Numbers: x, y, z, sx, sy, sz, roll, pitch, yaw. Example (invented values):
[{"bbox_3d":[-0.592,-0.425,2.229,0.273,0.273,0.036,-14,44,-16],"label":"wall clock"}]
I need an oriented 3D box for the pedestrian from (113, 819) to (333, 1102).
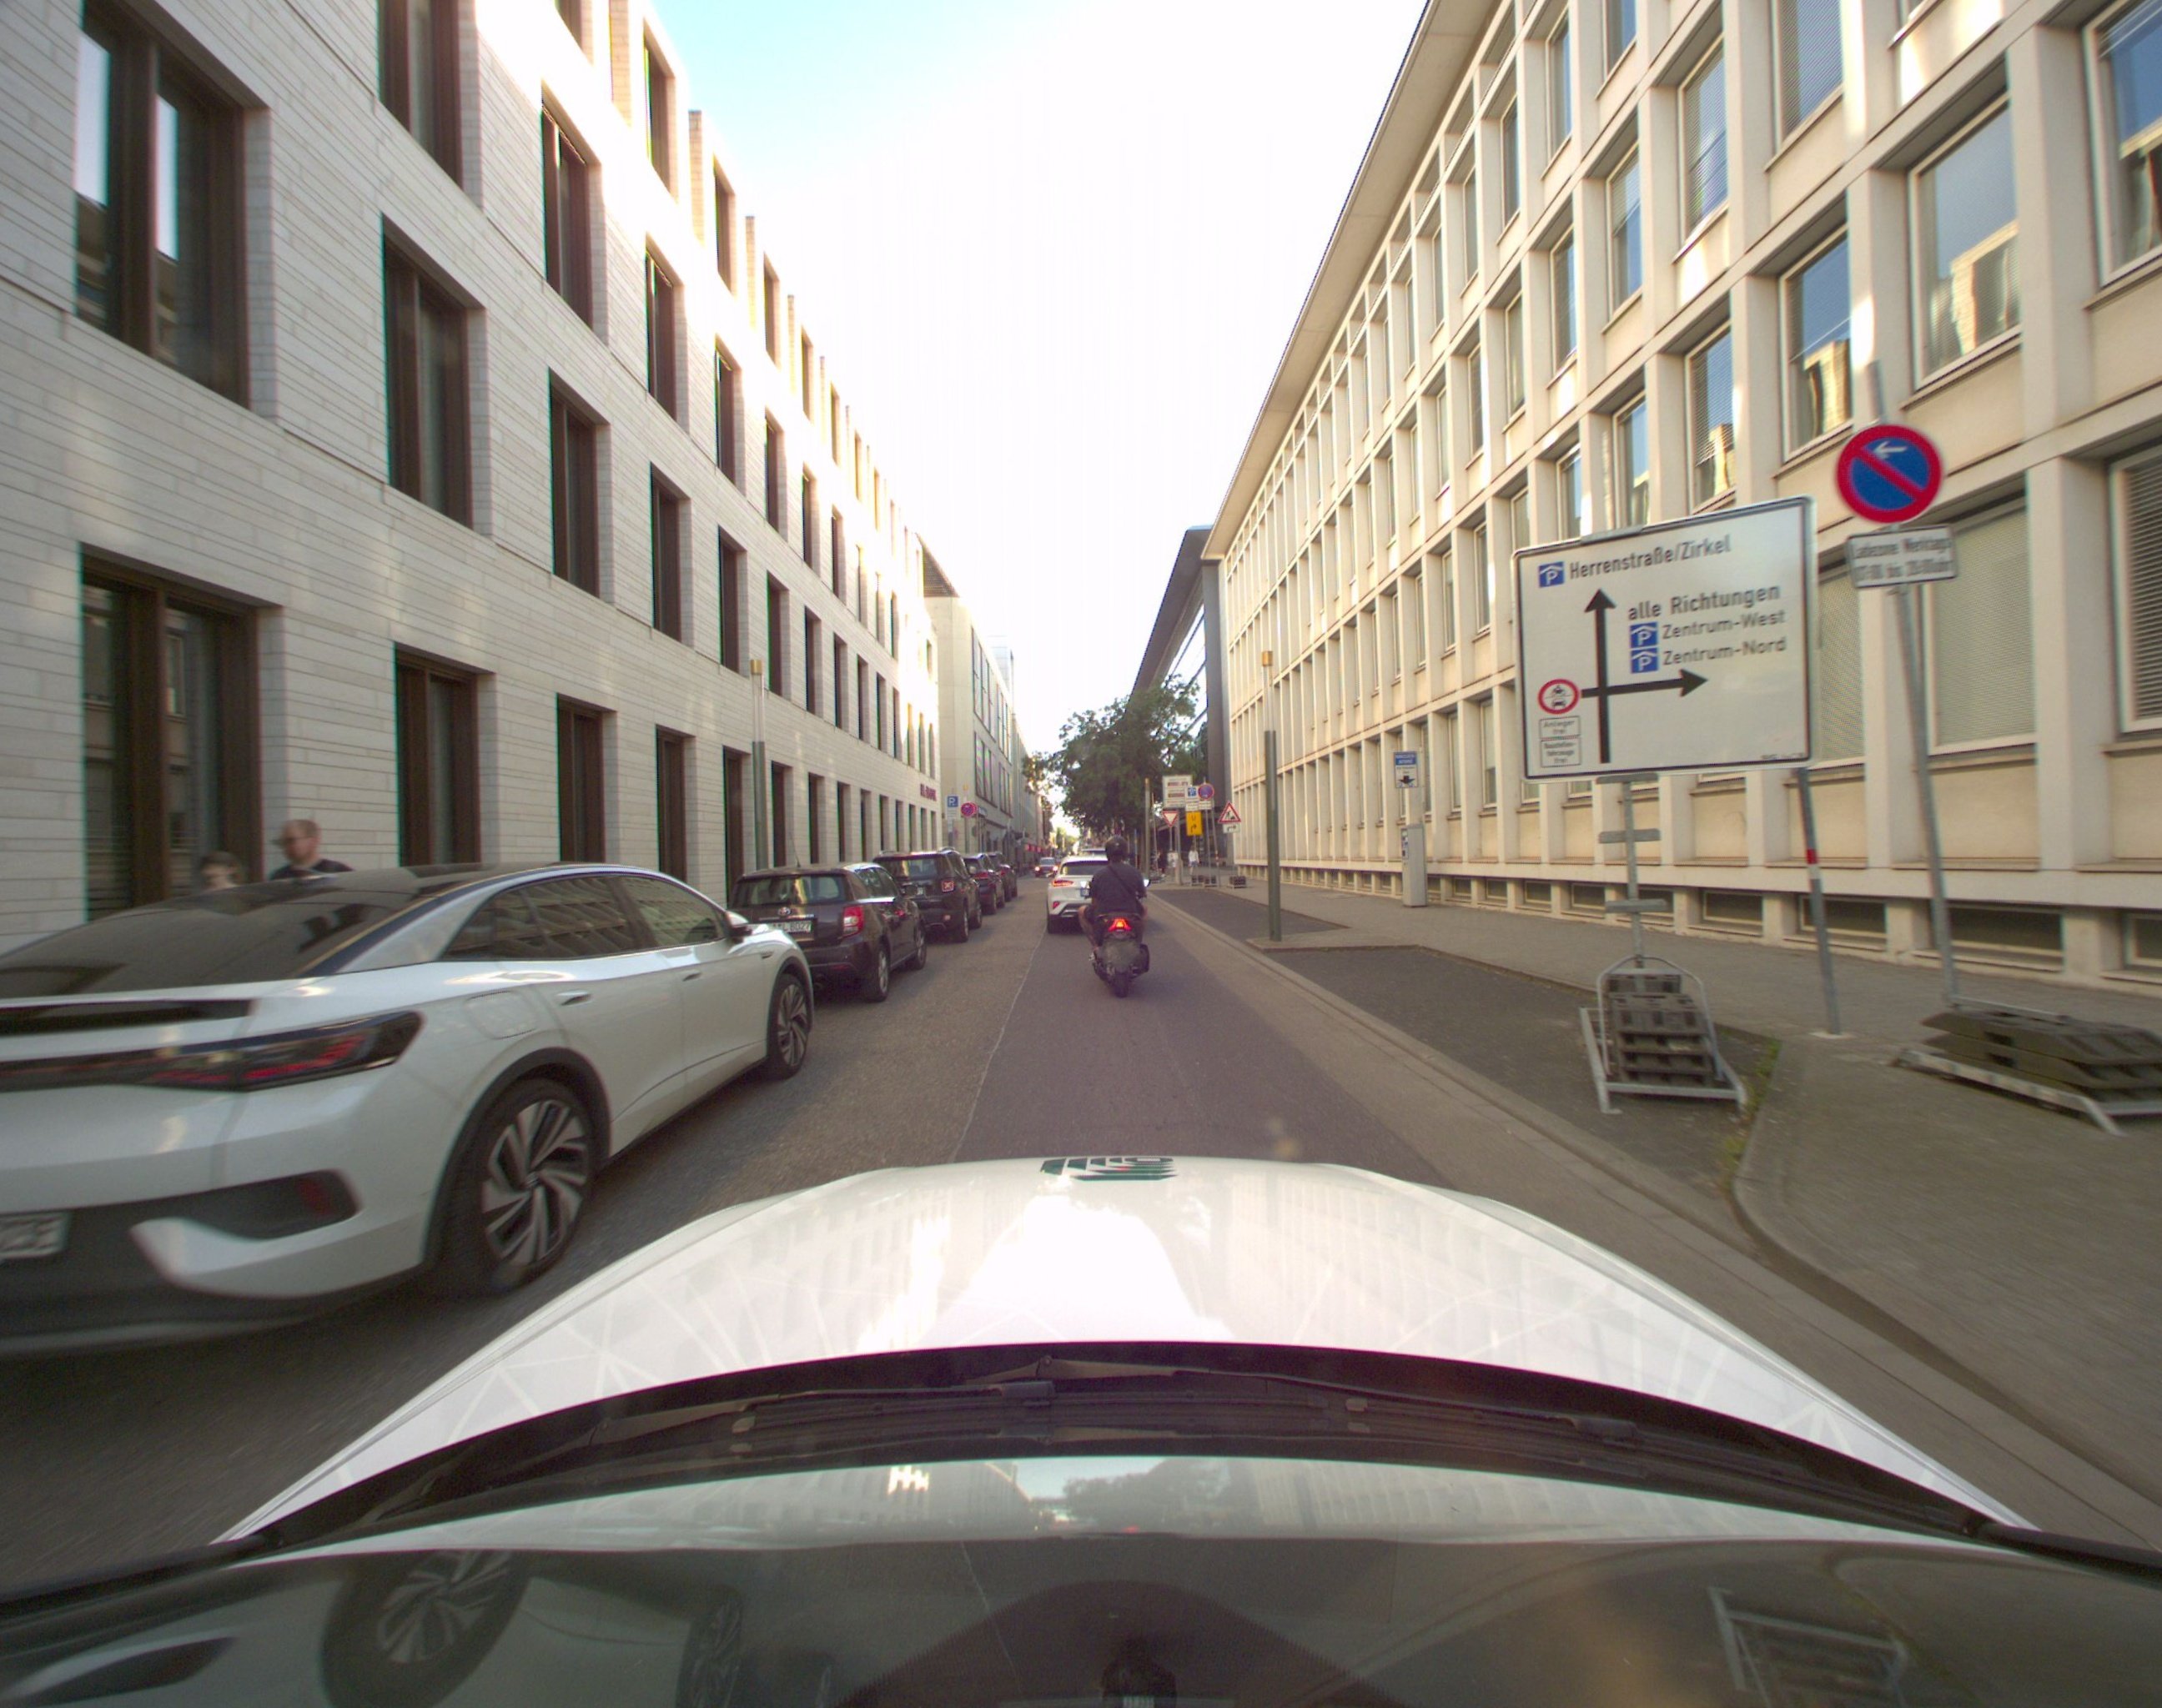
[{"bbox_3d":[-5.873,0.684,5.626,0.641,1.790,0.816,-1,-1,0],"label":"pedestrian"}]

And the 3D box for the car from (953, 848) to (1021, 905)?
[{"bbox_3d":[-3.140,0.707,28.075,1.817,1.677,4.261,-4,0,-1],"label":"car"}]

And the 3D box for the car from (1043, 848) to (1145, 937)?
[{"bbox_3d":[0.200,0.693,16.963,1.817,1.541,4.261,-2,0,-1],"label":"car"}]

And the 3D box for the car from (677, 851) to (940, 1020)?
[{"bbox_3d":[-3.070,0.796,10.219,1.817,1.541,4.261,-4,0,-1],"label":"car"}]

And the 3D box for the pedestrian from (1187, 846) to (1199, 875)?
[{"bbox_3d":[6.155,0.373,44.655,0.557,1.584,0.598,-1,-1,1],"label":"pedestrian"}]

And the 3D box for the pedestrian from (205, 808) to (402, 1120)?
[{"bbox_3d":[-4.757,0.641,5.019,0.639,1.790,0.575,-1,-1,0],"label":"pedestrian"}]

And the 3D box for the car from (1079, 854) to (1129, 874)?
[{"bbox_3d":[2.377,1.051,84.816,4.993,1.499,1.998,-6,-1,-3],"label":"car"}]

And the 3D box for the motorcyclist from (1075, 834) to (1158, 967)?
[{"bbox_3d":[0.392,0.509,9.139,0.864,1.427,0.455,-1,-1,0],"label":"motorcyclist"}]

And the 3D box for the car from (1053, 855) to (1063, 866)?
[{"bbox_3d":[-4.905,1.324,172.868,1.989,2.329,5.015,0,0,-3],"label":"car"}]

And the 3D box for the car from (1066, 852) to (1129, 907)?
[{"bbox_3d":[0.455,0.763,26.907,1.817,1.541,4.362,-4,0,-1],"label":"car"}]

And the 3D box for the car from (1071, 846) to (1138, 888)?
[{"bbox_3d":[1.160,0.538,37.761,1.808,1.645,4.515,-4,0,17],"label":"car"}]

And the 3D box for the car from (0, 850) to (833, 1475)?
[{"bbox_3d":[-2.963,0.824,4.314,1.816,1.541,4.446,-4,0,0],"label":"car"}]

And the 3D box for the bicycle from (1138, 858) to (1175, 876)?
[{"bbox_3d":[4.428,0.771,47.959,2.084,0.995,0.521,-2,-1,22],"label":"bicycle"}]

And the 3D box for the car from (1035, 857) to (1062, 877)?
[{"bbox_3d":[-2.540,1.061,65.118,1.815,1.465,4.265,-2,-2,2],"label":"car"}]

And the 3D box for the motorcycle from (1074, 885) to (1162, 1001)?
[{"bbox_3d":[0.393,0.939,9.221,0.869,1.109,1.840,-1,-1,1],"label":"motorcycle"}]

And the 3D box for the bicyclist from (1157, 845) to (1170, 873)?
[{"bbox_3d":[4.836,0.309,47.810,0.624,1.625,0.500,-2,-1,20],"label":"bicyclist"}]

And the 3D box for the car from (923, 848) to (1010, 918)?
[{"bbox_3d":[-3.011,0.708,22.141,1.735,1.594,4.152,-4,0,-1],"label":"car"}]

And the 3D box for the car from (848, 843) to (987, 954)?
[{"bbox_3d":[-2.968,0.730,15.642,1.817,1.714,4.016,-4,0,-1],"label":"car"}]

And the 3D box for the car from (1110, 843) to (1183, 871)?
[{"bbox_3d":[4.748,0.224,59.638,4.993,1.451,1.998,-6,-1,-3],"label":"car"}]
